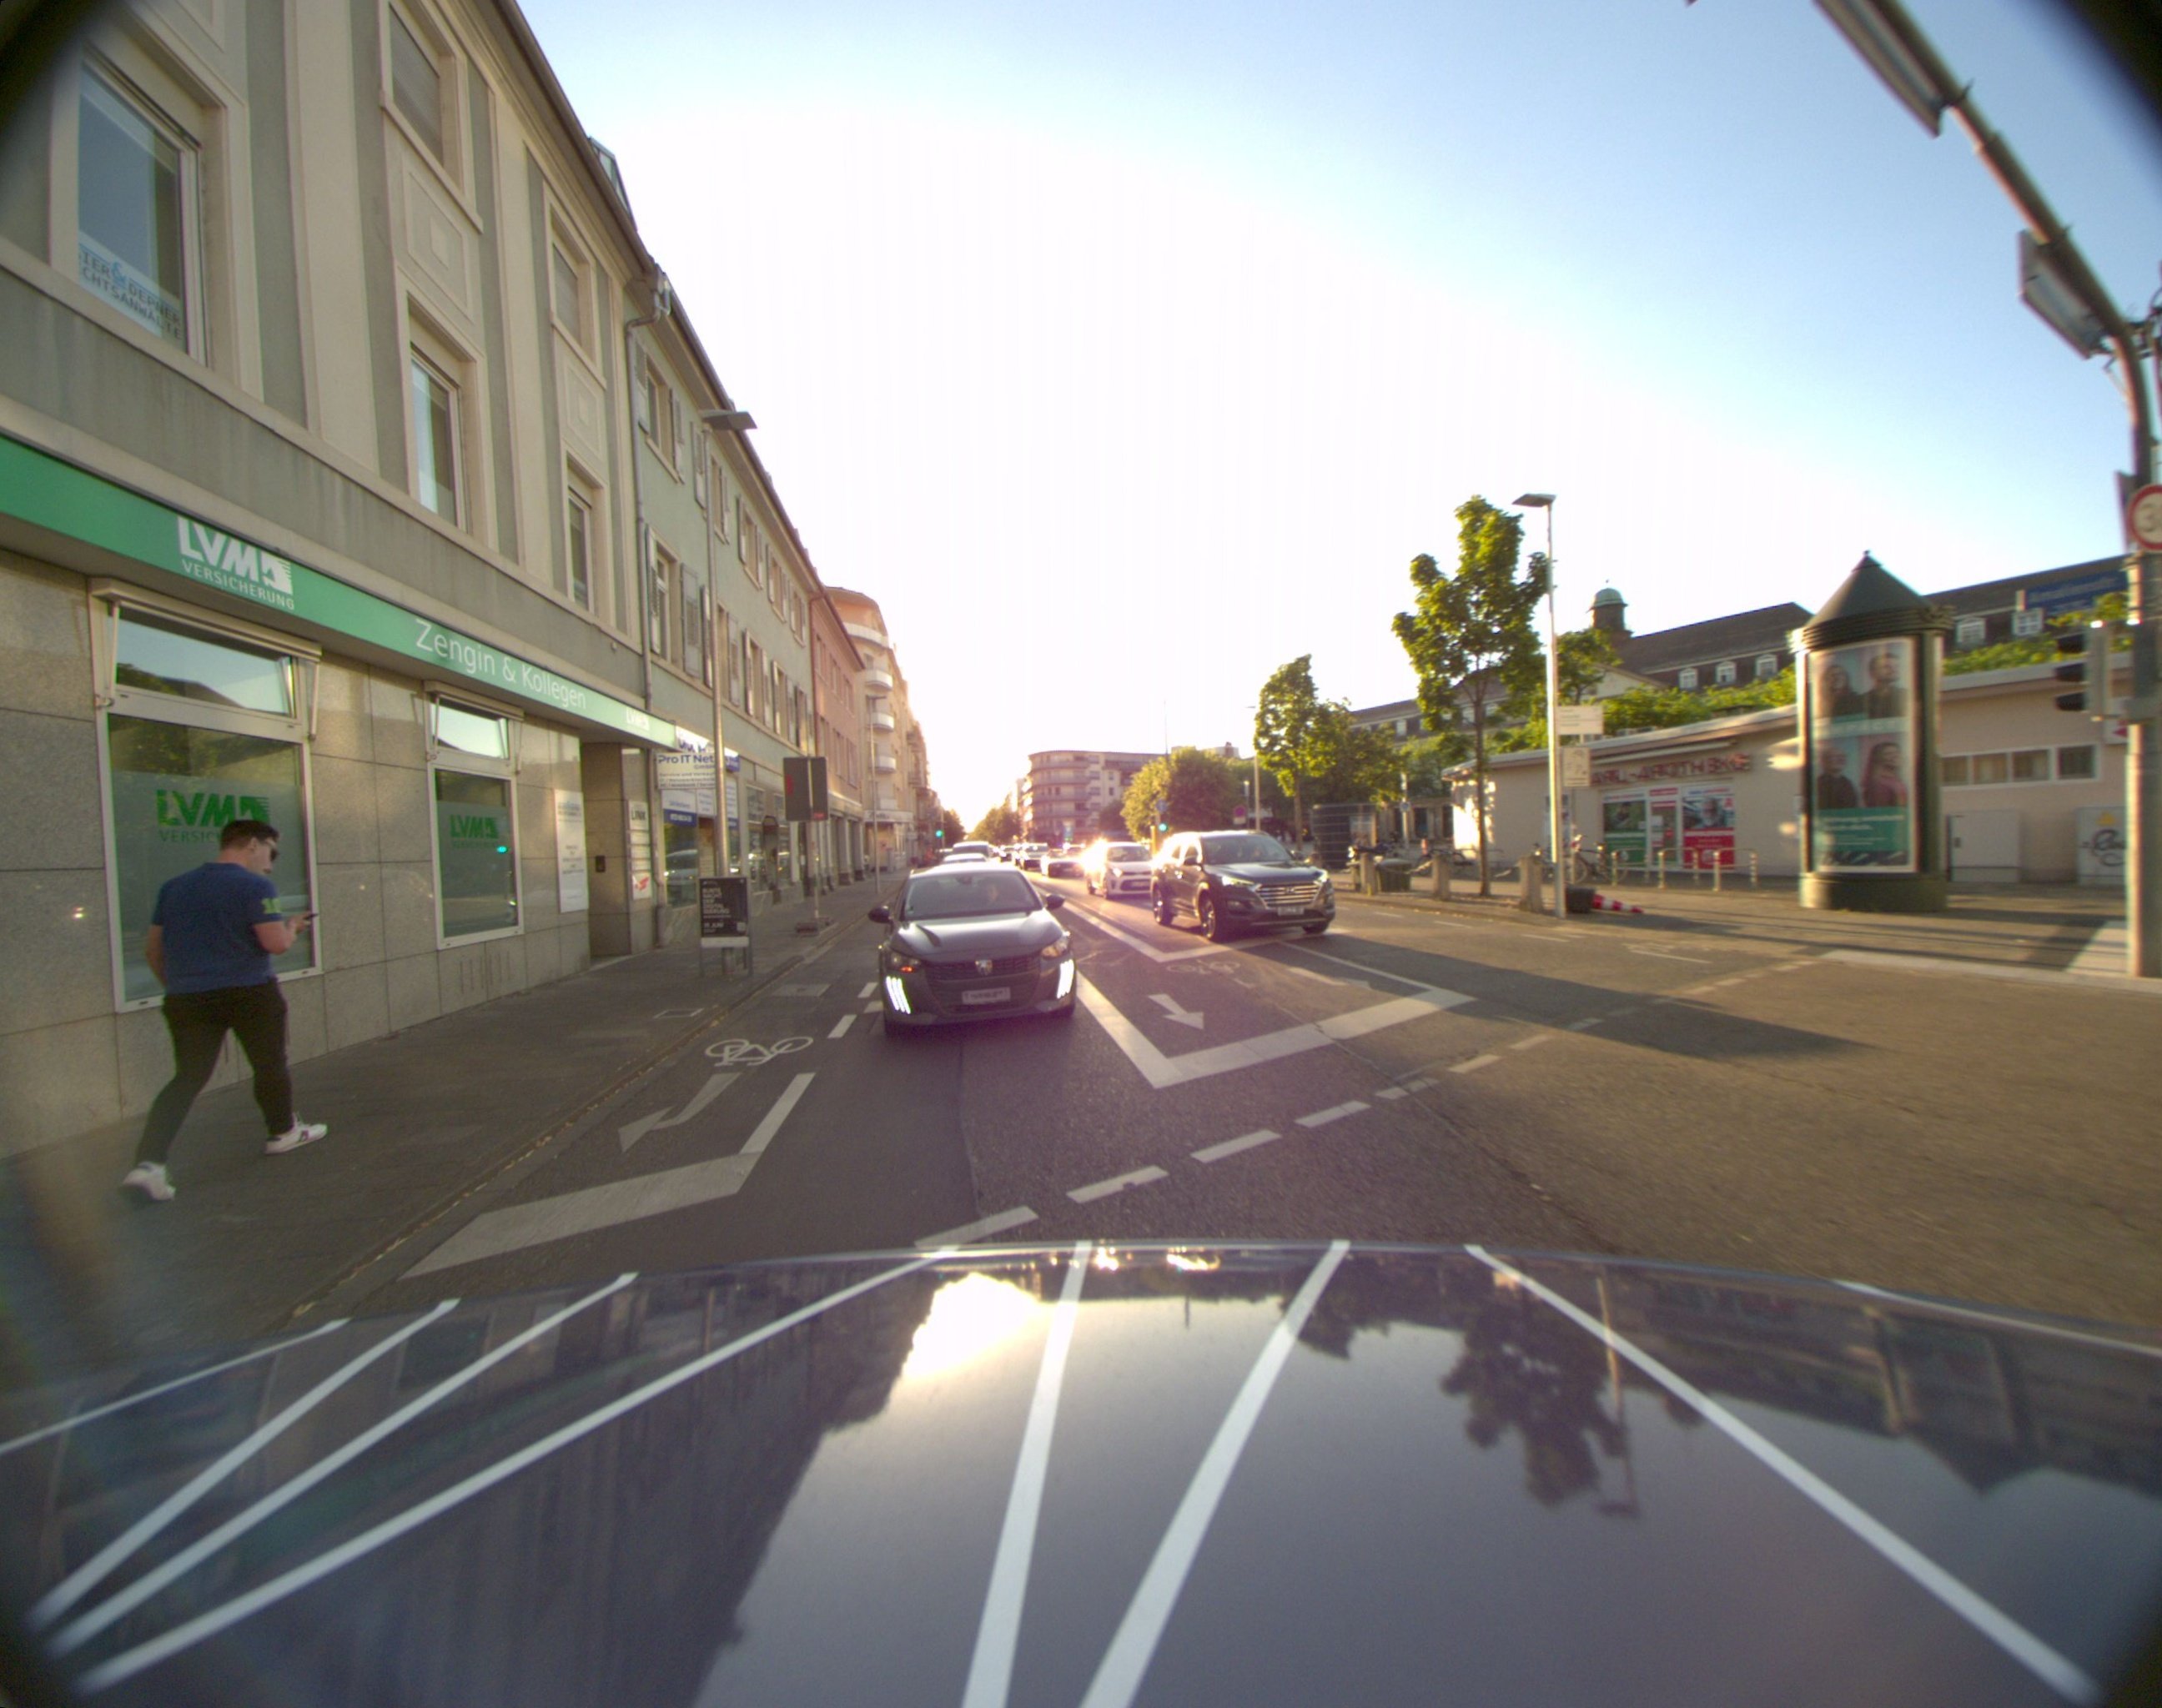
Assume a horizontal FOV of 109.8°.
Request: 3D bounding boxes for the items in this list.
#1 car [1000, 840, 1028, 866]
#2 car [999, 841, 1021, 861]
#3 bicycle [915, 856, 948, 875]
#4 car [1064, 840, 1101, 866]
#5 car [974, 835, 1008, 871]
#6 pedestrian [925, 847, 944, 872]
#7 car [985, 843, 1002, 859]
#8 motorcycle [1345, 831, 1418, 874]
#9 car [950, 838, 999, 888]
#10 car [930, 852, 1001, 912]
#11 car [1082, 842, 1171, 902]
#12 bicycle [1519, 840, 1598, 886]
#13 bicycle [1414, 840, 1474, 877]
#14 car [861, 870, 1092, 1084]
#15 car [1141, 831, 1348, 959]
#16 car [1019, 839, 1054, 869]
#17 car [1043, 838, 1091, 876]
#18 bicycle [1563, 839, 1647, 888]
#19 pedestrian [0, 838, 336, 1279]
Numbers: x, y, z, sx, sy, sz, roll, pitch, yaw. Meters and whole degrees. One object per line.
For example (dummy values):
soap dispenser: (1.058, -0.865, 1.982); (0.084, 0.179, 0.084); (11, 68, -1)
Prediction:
car: (-4.963, -0.092, 56.158); (1.881, 1.762, 3.997); (-2, 1, -6)
car: (-6.677, -0.326, 71.392); (1.881, 1.762, 3.997); (-2, 1, -6)
bicycle: (-8.482, 0.653, 43.195); (1.703, 1.051, 0.562); (-2, 2, 2)
car: (0.064, -0.101, 52.156); (1.881, 1.594, 3.996); (-2, 1, -9)
car: (-5.469, -0.072, 46.181); (1.892, 2.002, 3.889); (-2, 1, -7)
pedestrian: (-8.316, 0.314, 43.186); (0.858, 1.343, 0.562); (-2, 2, 3)
car: (-10.142, -0.410, 88.142); (1.881, 1.762, 3.996); (-2, 1, -7)
motorcycle: (10.844, -0.059, 27.452); (2.400, 1.438, 0.700); (-2, 2, -9)
car: (-4.405, 0.336, 31.521); (1.828, 1.918, 3.981); (-1, 1, -8)
car: (-3.372, 0.746, 22.445); (1.828, 1.463, 3.981); (-3, 1, -8)
car: (1.186, 0.431, 21.528); (1.719, 1.463, 3.981); (-2, 1, -8)
bicycle: (12.305, 0.232, 19.575); (1.872, 1.108, 0.448); (-2, 2, -8)
bicycle: (11.586, 0.144, 24.276); (1.812, 1.096, 0.395); (-2, 2, -9)
car: (-1.314, 0.978, 7.877); (1.753, 1.435, 3.900); (-3, 1, -16)
car: (2.460, 0.532, 12.627); (1.829, 1.688, 4.255); (-2, 1, -10)
car: (-2.761, -0.014, 46.636); (1.828, 1.731, 3.981); (-1, 1, -8)
car: (-0.735, 0.103, 36.320); (1.828, 1.731, 3.981); (-1, 1, -8)
bicycle: (12.728, 0.229, 18.449); (1.872, 1.108, 0.448); (-2, 2, -8)
pedestrian: (-4.338, 0.844, 3.625); (0.693, 1.817, 0.879); (-2, 2, -14)
